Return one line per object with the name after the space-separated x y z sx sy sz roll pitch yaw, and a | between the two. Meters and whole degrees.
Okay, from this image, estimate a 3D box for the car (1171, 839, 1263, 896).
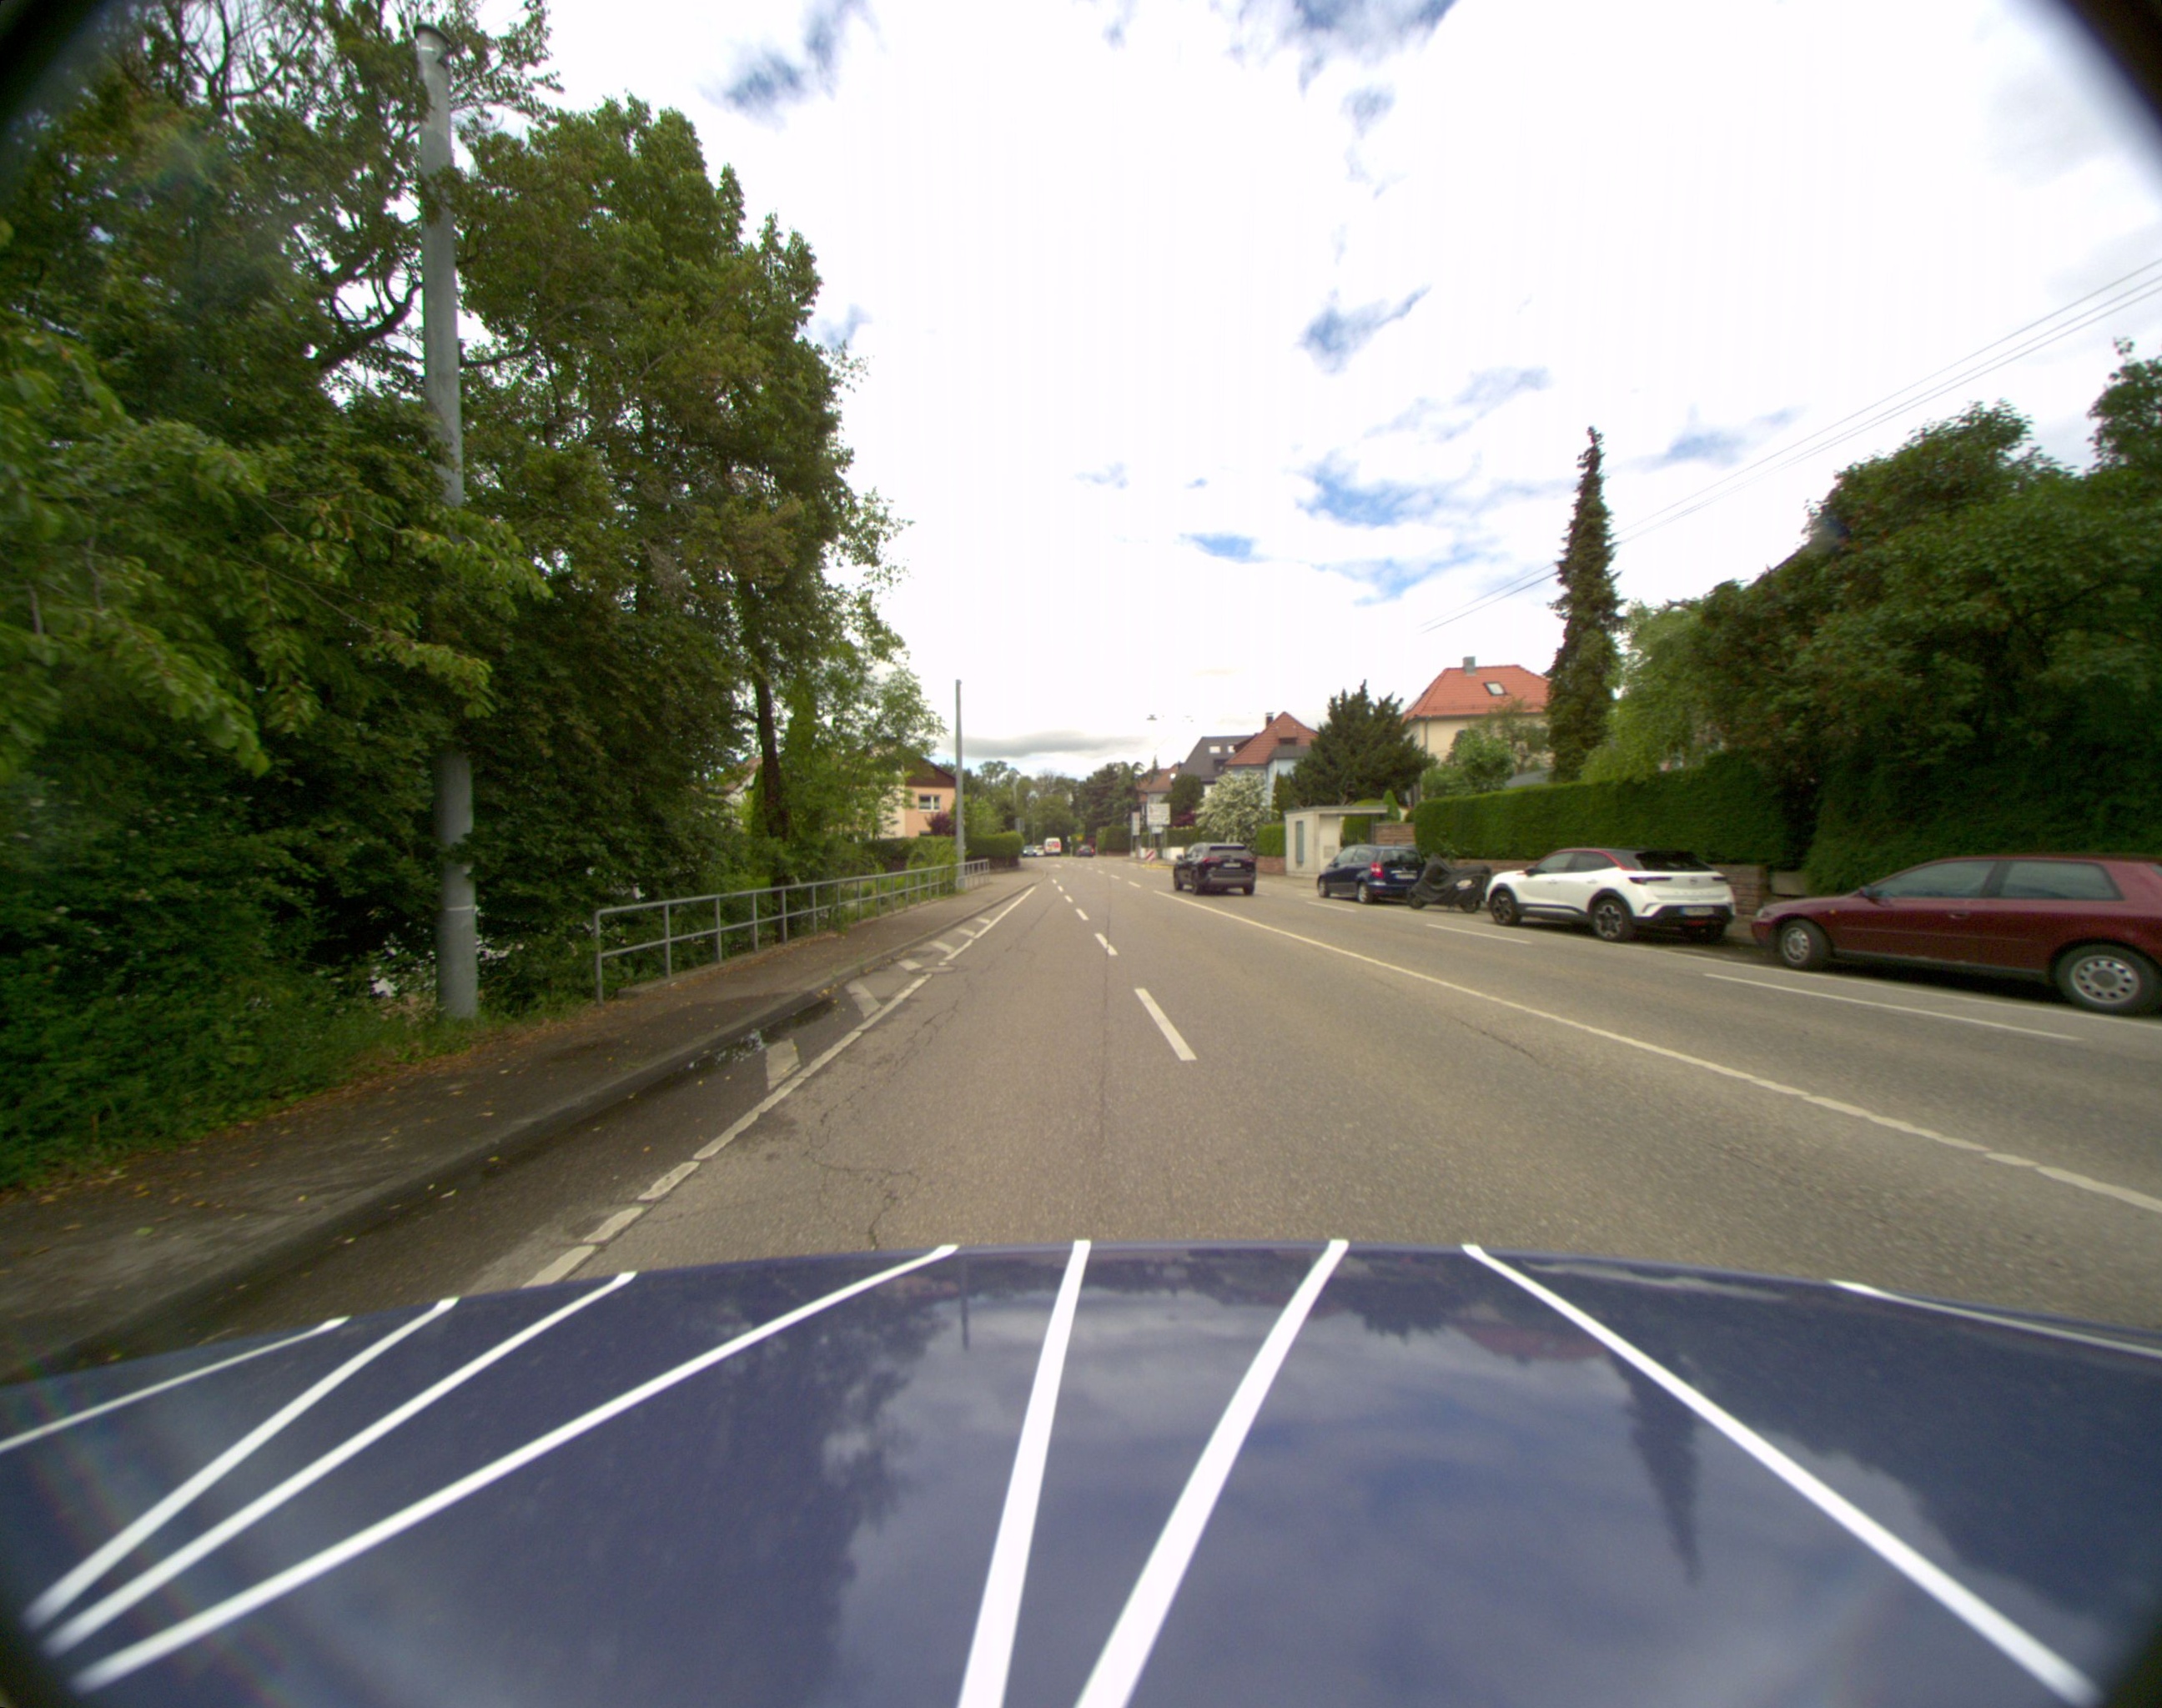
4.288 0.364 24.693 1.848 1.638 4.209 -1 1 -6 | car

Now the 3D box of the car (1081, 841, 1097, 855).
0.898 -0.767 88.011 1.738 1.545 4.446 -1 1 0 | car

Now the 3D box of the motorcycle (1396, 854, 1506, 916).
8.511 0.694 17.600 0.890 1.347 2.302 1 -1 -22 | motorcycle

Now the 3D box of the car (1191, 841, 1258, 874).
6.621 0.116 35.621 1.815 1.447 4.410 1 1 -7 | car

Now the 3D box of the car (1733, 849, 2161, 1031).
9.540 0.699 8.035 1.675 1.470 3.908 0 1 -7 | car

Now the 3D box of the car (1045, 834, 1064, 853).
-3.712 -1.407 104.130 2.118 2.484 6.120 -1 0 -6 | car

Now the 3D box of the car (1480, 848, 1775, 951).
9.061 0.643 13.116 1.895 1.486 4.024 0 1 -7 | car

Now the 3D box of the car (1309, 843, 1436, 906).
8.015 0.490 21.290 1.684 1.547 3.968 0 1 -6 | car

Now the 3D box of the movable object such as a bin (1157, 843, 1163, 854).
6.816 -0.498 65.571 0.509 0.968 0.540 -1 2 -3 | movable object such as a bin

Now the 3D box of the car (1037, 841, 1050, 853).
-6.487 -1.223 130.628 1.864 2.036 5.168 -1 0 -7 | car

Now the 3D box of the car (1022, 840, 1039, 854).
-6.989 -0.980 105.362 1.864 1.855 4.607 -1 0 -10 | car

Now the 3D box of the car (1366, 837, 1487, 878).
12.588 0.106 27.868 3.596 1.383 1.850 -1 1 3 | car
